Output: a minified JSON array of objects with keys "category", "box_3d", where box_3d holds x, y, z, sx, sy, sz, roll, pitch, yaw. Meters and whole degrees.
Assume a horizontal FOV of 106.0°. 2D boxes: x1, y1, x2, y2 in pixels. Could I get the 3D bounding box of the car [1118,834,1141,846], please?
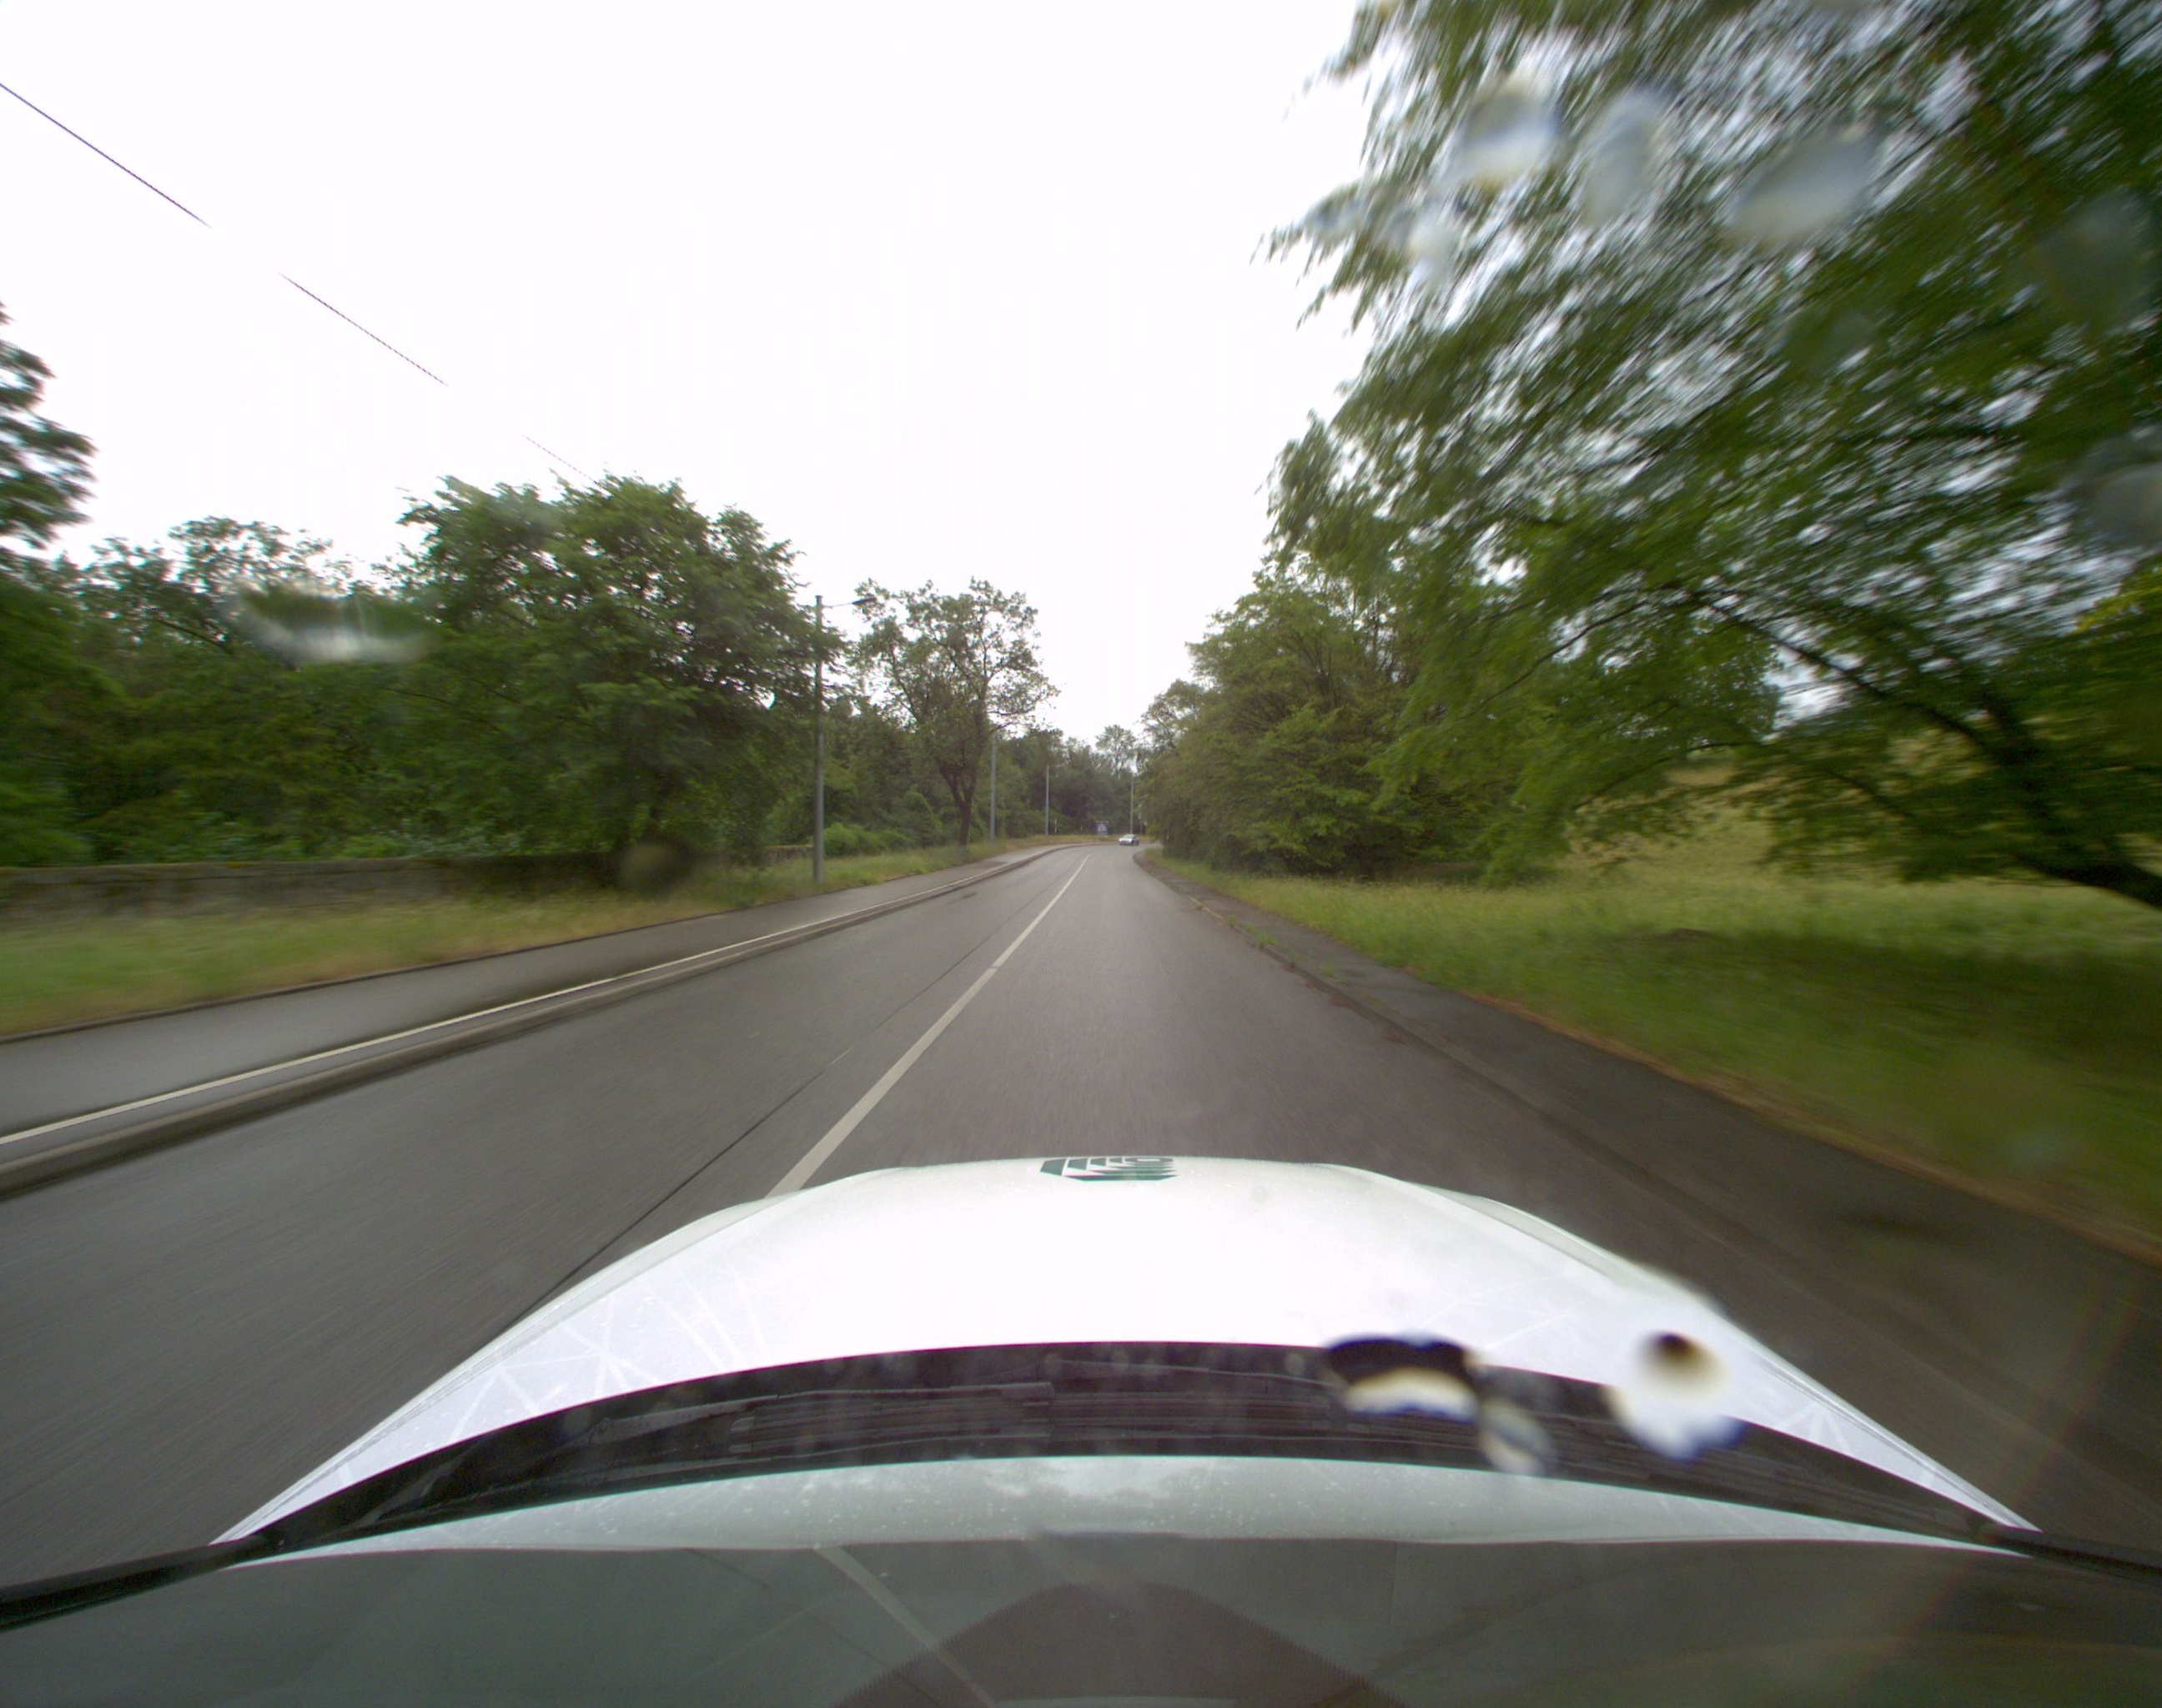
[{"category":"car","box_3d":[6.648,-1.878,111.309,1.765,1.430,4.498,5,3,21]}]
